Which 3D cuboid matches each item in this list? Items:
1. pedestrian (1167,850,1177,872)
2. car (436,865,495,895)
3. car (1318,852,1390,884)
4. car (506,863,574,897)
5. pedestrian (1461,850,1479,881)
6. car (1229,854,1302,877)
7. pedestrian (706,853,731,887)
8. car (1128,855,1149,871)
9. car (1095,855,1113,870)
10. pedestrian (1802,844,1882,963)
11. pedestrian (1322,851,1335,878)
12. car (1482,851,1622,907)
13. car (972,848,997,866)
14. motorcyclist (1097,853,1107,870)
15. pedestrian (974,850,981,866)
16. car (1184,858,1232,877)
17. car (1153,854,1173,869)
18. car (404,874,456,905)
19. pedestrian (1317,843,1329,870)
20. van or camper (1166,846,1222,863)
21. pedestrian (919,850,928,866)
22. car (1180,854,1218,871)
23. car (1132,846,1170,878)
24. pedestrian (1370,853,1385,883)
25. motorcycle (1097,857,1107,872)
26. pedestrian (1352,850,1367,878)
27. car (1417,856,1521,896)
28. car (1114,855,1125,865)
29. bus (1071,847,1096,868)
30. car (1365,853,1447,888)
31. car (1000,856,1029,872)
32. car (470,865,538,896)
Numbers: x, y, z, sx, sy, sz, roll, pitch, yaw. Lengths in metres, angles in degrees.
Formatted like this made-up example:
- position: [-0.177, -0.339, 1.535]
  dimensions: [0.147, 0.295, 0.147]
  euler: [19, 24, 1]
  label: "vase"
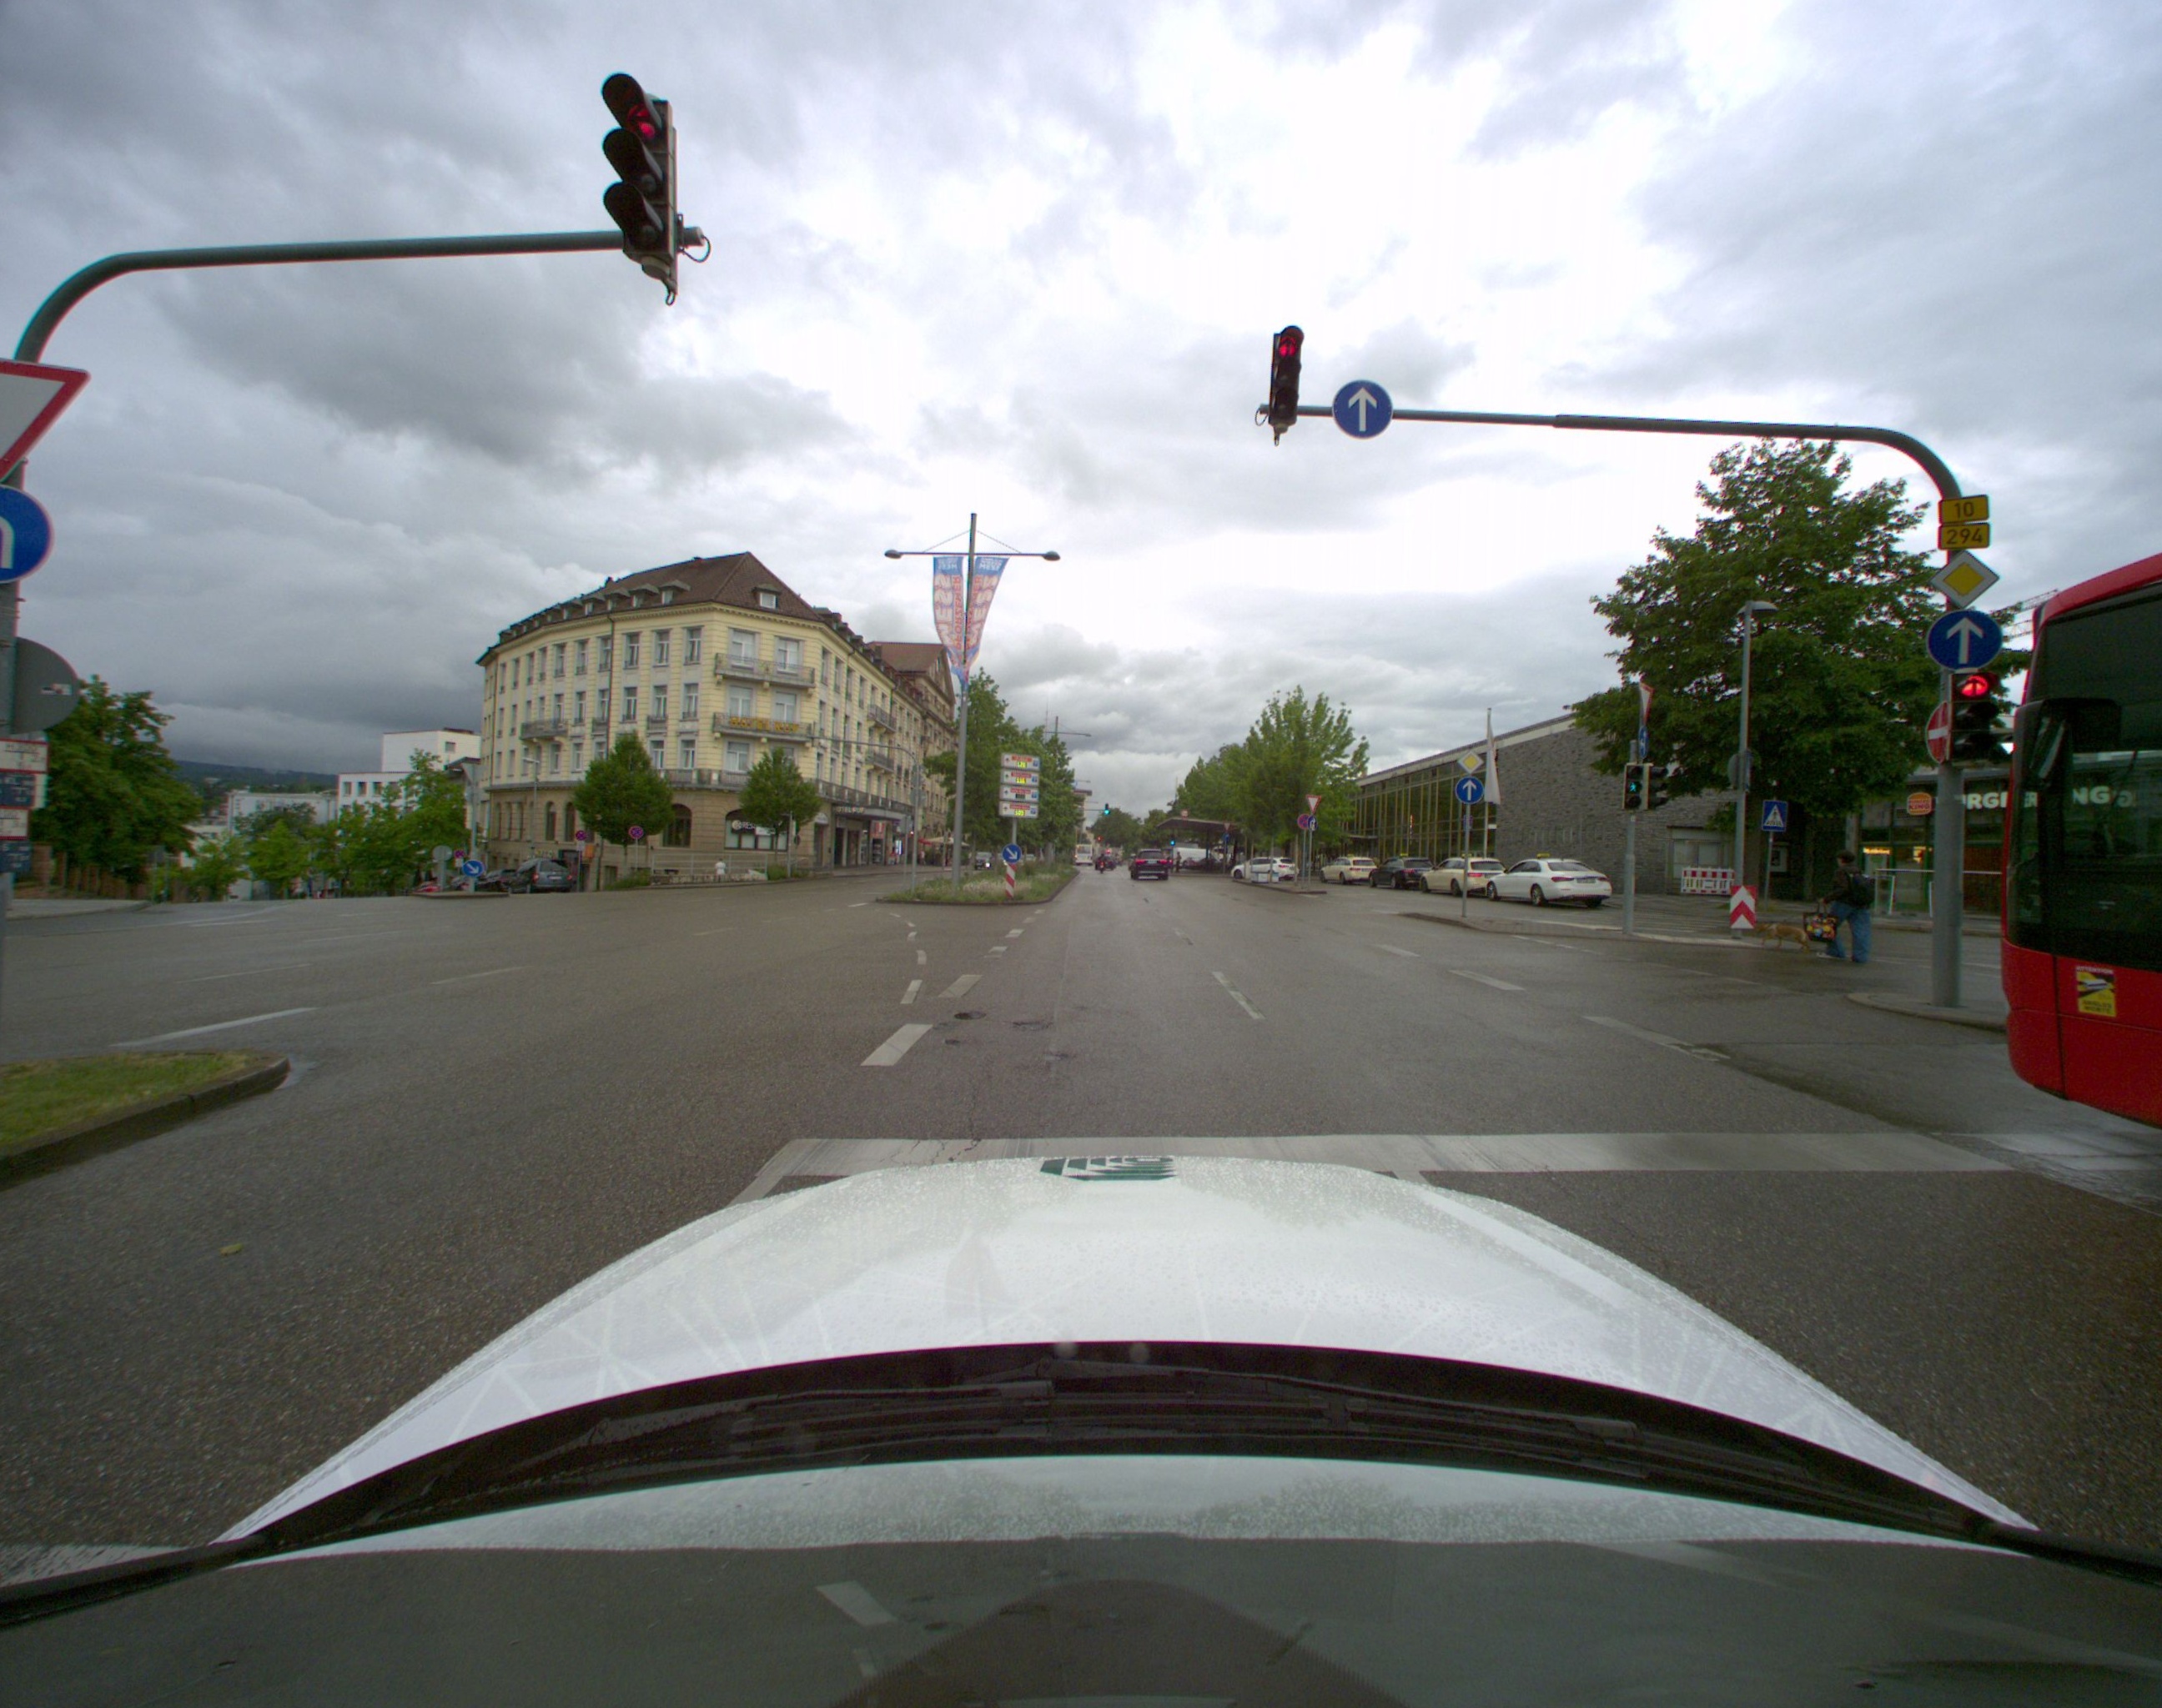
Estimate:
- position: [7.425, 0.598, 66.548]
  dimensions: [0.717, 1.791, 0.663]
  euler: [0, 0, -10]
  label: "pedestrian"
- position: [-36.317, 1.496, 48.023]
  dimensions: [3.864, 1.640, 1.805]
  euler: [0, 0, 37]
  label: "car"
- position: [14.677, 0.714, 44.089]
  dimensions: [1.990, 1.600, 4.814]
  euler: [0, 0, -5]
  label: "car"
- position: [-27.105, 1.274, 40.761]
  dimensions: [3.949, 1.568, 1.812]
  euler: [0, 0, 41]
  label: "car"
- position: [20.586, 0.614, 43.076]
  dimensions: [0.563, 1.646, 0.715]
  euler: [0, 0, -3]
  label: "pedestrian"
- position: [11.494, 0.716, 50.949]
  dimensions: [1.788, 1.385, 4.318]
  euler: [0, 0, -39]
  label: "car"
- position: [-20.221, 0.906, 45.462]
  dimensions: [0.860, 1.878, 1.023]
  euler: [0, 0, 1]
  label: "pedestrian"
- position: [5.598, 0.850, 79.742]
  dimensions: [1.844, 1.567, 4.001]
  euler: [0, 0, 2]
  label: "car"
- position: [2.227, 0.775, 77.729]
  dimensions: [1.702, 1.448, 4.001]
  euler: [0, 0, 2]
  label: "car"
- position: [11.143, 0.692, 11.949]
  dimensions: [0.800, 1.674, 0.717]
  euler: [0, 0, 39]
  label: "pedestrian"
- position: [19.018, 0.794, 62.656]
  dimensions: [0.767, 2.014, 0.828]
  euler: [0, 0, 0]
  label: "pedestrian"
- position: [14.643, 0.722, 25.650]
  dimensions: [1.768, 1.589, 4.615]
  euler: [0, 0, 0]
  label: "car"
- position: [-8.502, 0.285, 72.033]
  dimensions: [1.766, 1.530, 4.076]
  euler: [0, 0, -1]
  label: "car"
- position: [1.649, 0.590, 62.914]
  dimensions: [0.761, 1.331, 0.867]
  euler: [0, 0, 2]
  label: "motorcyclist"
- position: [-10.962, 0.440, 86.521]
  dimensions: [0.672, 1.701, 0.634]
  euler: [0, 0, 1]
  label: "pedestrian"
- position: [12.815, 1.386, 82.132]
  dimensions: [4.348, 1.857, 1.988]
  euler: [0, 0, -18]
  label: "car"
- position: [8.553, 0.757, 85.369]
  dimensions: [1.809, 1.530, 4.001]
  euler: [0, 0, 2]
  label: "car"
- position: [-41.193, 2.213, 51.482]
  dimensions: [3.575, 1.812, 1.788]
  euler: [0, 0, 38]
  label: "car"
- position: [21.784, 0.236, 73.242]
  dimensions: [0.839, 2.411, 0.863]
  euler: [0, 0, 3]
  label: "pedestrian"
- position: [14.304, 0.083, 102.727]
  dimensions: [6.787, 2.014, 2.366]
  euler: [0, -1, -25]
  label: "van or camper"
- position: [-14.528, 0.357, 74.969]
  dimensions: [0.666, 1.510, 0.513]
  euler: [0, -1, -36]
  label: "pedestrian"
- position: [14.018, 0.976, 96.492]
  dimensions: [3.998, 2.014, 1.988]
  euler: [0, 0, -18]
  label: "car"
- position: [4.133, 0.466, 48.667]
  dimensions: [1.986, 1.806, 4.691]
  euler: [0, 0, 2]
  label: "car"
- position: [17.145, 0.795, 47.119]
  dimensions: [0.563, 1.710, 0.715]
  euler: [0, 0, -3]
  label: "pedestrian"
- position: [1.654, 0.804, 62.887]
  dimensions: [0.763, 1.077, 2.176]
  euler: [0, 0, 2]
  label: "motorcycle"
- position: [20.079, 0.747, 58.763]
  dimensions: [0.767, 2.014, 0.828]
  euler: [0, 0, 0]
  label: "pedestrian"
- position: [14.782, 0.788, 31.369]
  dimensions: [1.840, 1.452, 4.666]
  euler: [0, 0, 0]
  label: "car"
- position: [5.837, 0.865, 123.790]
  dimensions: [1.702, 1.474, 4.001]
  euler: [0, 0, 2]
  label: "car"
- position: [0.436, 0.518, 130.214]
  dimensions: [3.748, 3.209, 15.525]
  euler: [0, 0, 0]
  label: "bus"
- position: [14.880, 0.711, 37.595]
  dimensions: [1.907, 1.524, 4.741]
  euler: [0, 0, 0]
  label: "car"
- position: [-5.814, 0.868, 71.923]
  dimensions: [1.716, 1.381, 4.867]
  euler: [-1, 0, 5]
  label: "car"
- position: [-31.974, 1.419, 45.101]
  dimensions: [3.948, 1.640, 2.013]
  euler: [-1, -1, 37]
  label: "car"
